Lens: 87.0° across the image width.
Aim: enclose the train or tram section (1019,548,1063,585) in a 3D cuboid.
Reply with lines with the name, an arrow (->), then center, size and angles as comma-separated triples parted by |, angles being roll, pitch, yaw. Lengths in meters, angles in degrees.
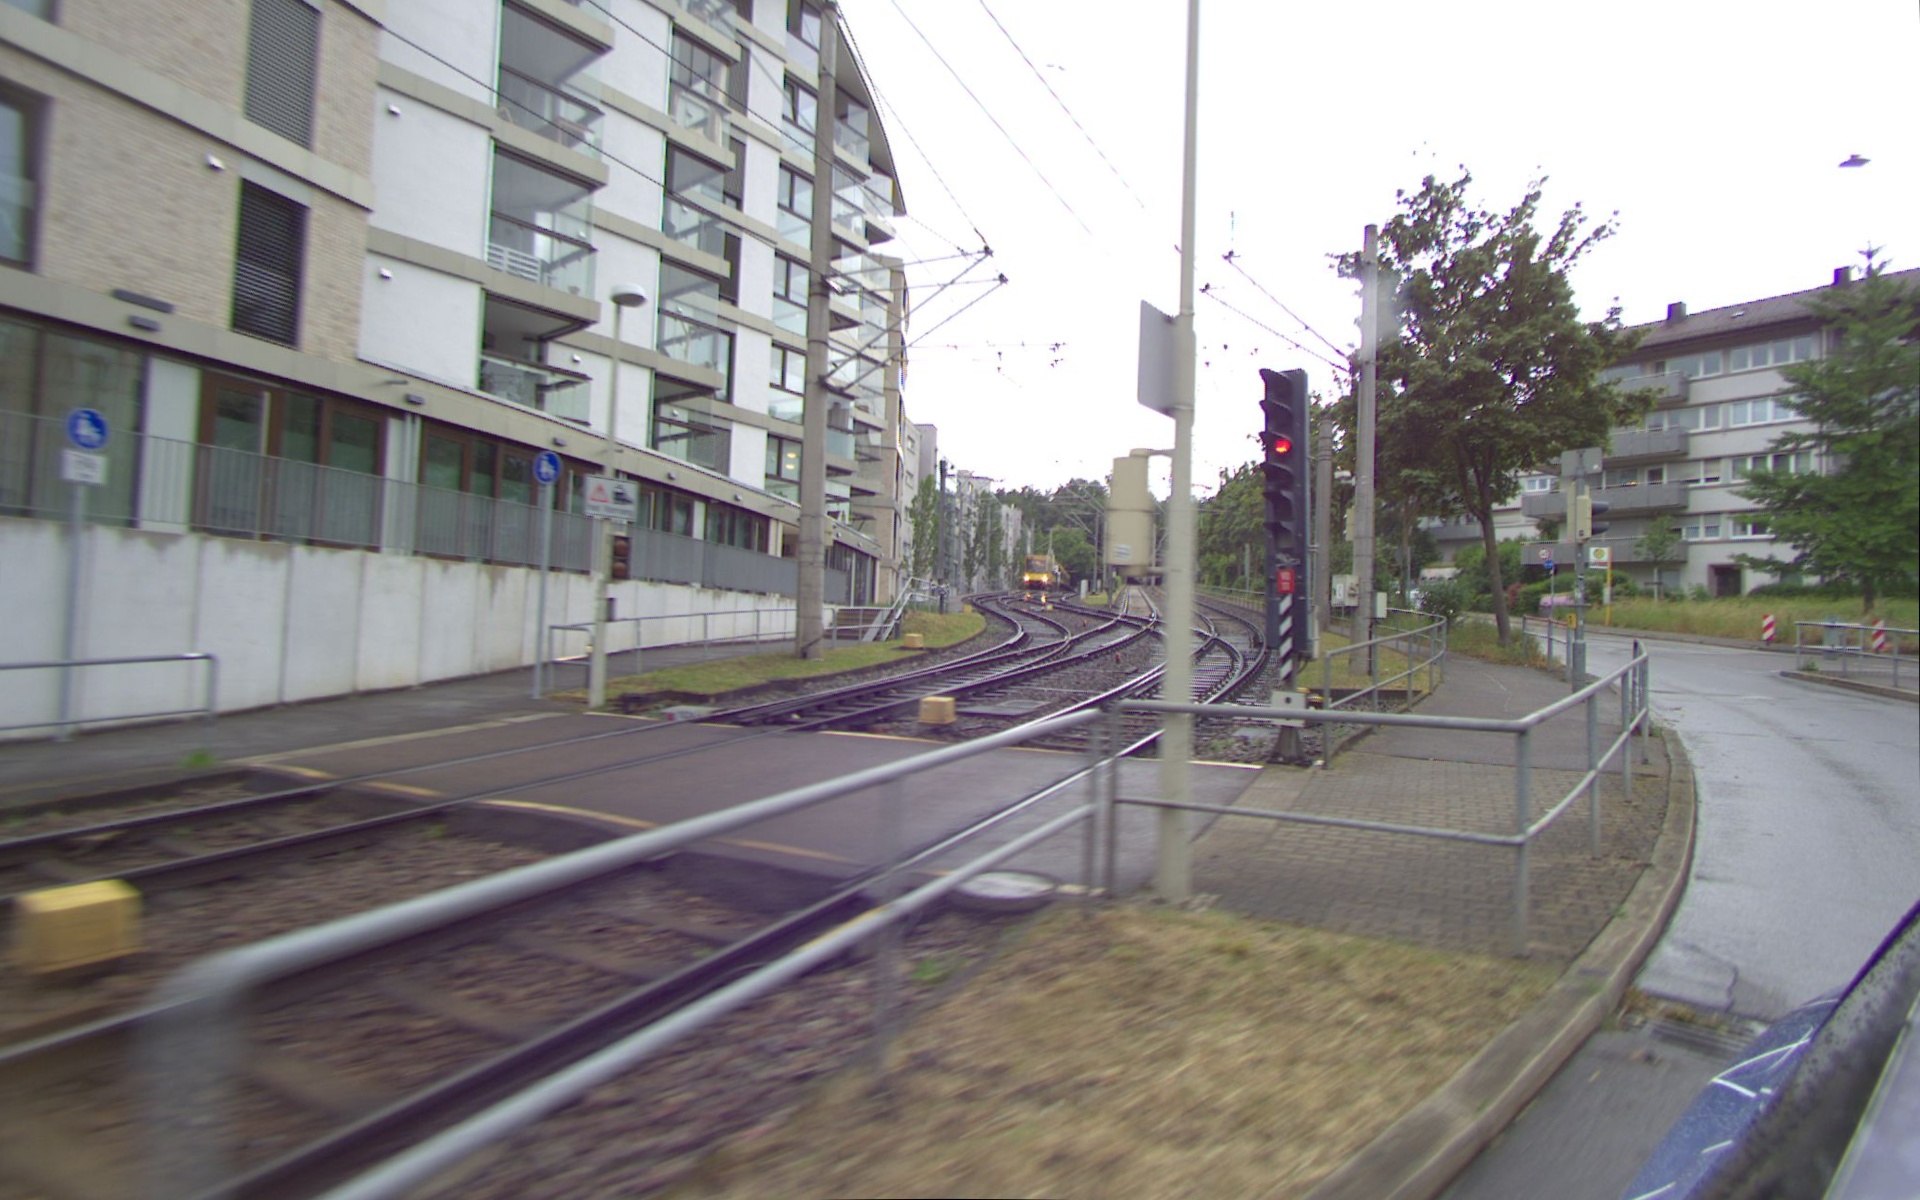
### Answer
train or tram section -> 8.737, -3.488, 107.564 | 3.156, 3.605, 14.460 | 2, 2, 10
